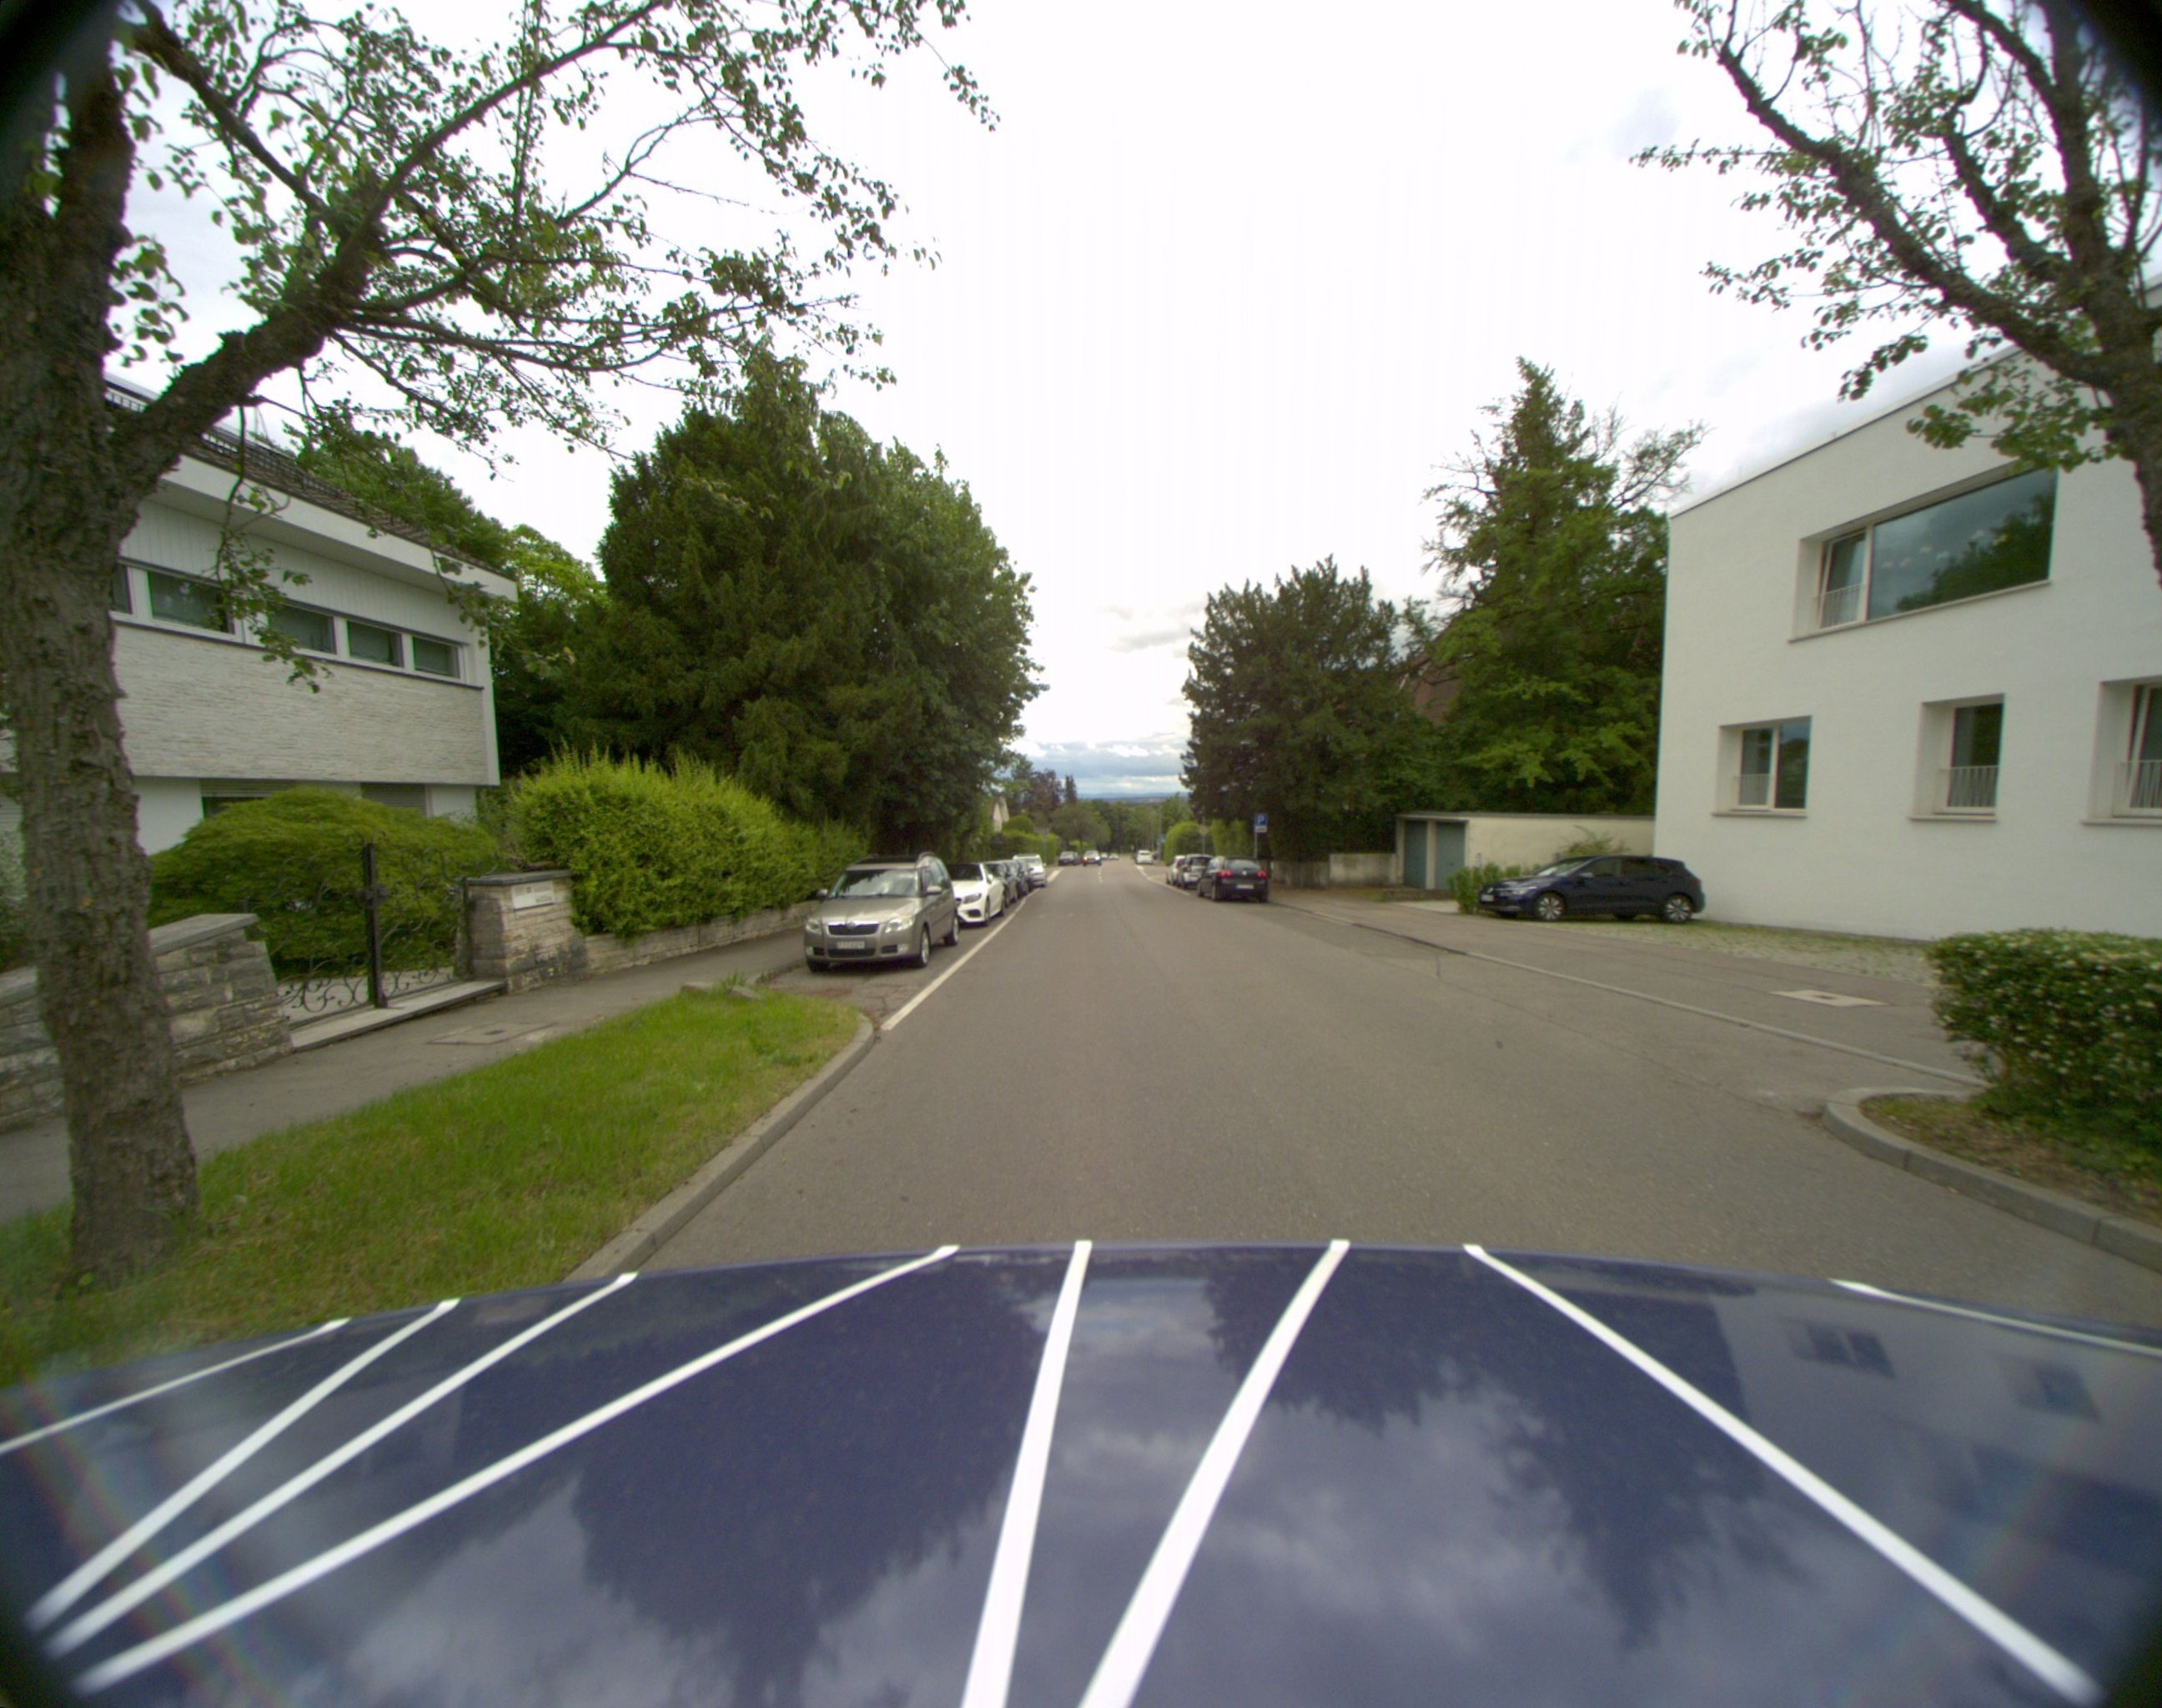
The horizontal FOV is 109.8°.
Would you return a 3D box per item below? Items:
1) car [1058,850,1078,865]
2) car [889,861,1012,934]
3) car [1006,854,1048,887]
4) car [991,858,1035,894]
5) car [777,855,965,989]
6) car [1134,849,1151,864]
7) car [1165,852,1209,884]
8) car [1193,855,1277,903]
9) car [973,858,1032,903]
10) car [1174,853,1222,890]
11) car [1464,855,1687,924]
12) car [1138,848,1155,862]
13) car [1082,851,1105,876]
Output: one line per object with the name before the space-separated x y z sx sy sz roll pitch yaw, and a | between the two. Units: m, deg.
car | -1.369 0.353 81.483 1.794 1.480 4.380 0 0 4
car | -2.959 0.927 18.390 1.998 1.483 5.004 0 0 1
car | -2.740 0.791 38.814 2.006 1.599 4.756 0 0 -4
car | -3.003 0.953 34.147 1.815 1.444 4.376 0 1 -4
car | -3.013 0.885 11.793 1.721 1.623 3.928 -2 0 1
car | 7.074 0.278 87.518 1.786 1.481 4.739 3 1 4
car | 5.197 0.678 37.691 1.749 1.439 3.514 2 0 2
car | 5.127 0.788 25.893 1.855 1.461 4.682 0 0 -1
car | -2.938 0.961 29.171 1.702 1.499 4.160 -3 0 1
car | 5.143 0.752 33.736 1.628 1.510 2.975 -1 1 0
car | 10.674 0.734 16.561 3.805 1.346 1.740 -1 1 -5
car | 7.108 0.060 82.448 1.693 1.411 3.580 2 0 4
car | 1.213 0.977 74.812 1.998 2.000 4.004 -4 -5 3
